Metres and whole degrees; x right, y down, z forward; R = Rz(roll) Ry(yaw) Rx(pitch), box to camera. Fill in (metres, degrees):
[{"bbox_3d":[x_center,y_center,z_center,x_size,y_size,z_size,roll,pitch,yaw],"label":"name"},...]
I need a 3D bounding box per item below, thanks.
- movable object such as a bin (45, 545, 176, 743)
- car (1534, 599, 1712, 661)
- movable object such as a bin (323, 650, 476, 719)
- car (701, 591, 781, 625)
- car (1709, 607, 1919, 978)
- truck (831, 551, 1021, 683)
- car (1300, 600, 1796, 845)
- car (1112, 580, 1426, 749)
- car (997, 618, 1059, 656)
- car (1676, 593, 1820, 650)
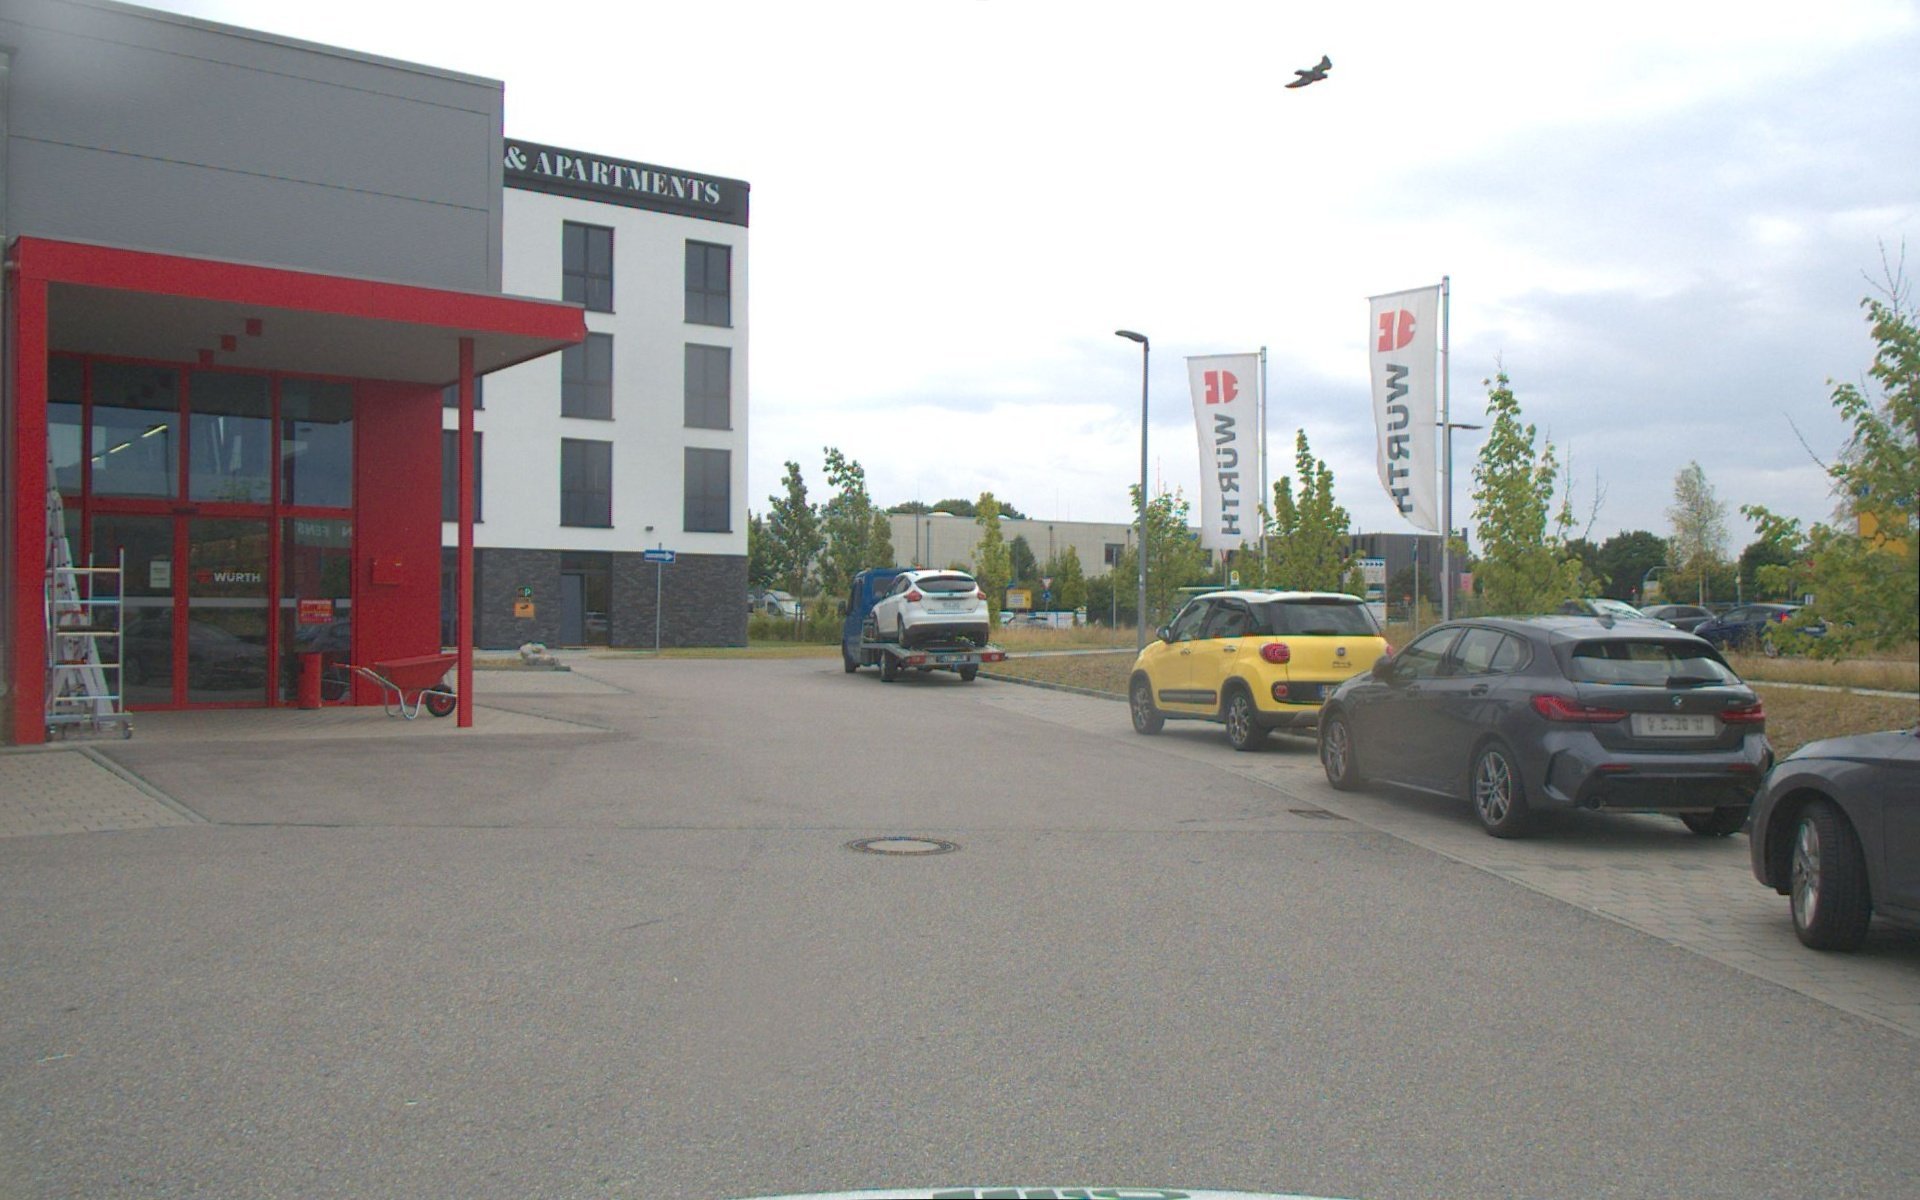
[{"bbox_3d":[-7.656,0.373,14.905,0.903,1.701,0.734,-3,2,-35],"label":"movable object such as a bin"},{"bbox_3d":[16.171,0.702,40.587,1.733,1.419,4.541,0,0,-14],"label":"car"},{"bbox_3d":[-6.324,0.945,18.654,1.472,0.716,0.955,2,-1,-30],"label":"movable object such as a bin"},{"bbox_3d":[-12.034,0.434,91.040,3.902,1.803,2.002,-1,0,8],"label":"car"},{"bbox_3d":[4.877,0.798,6.046,1.719,1.495,4.466,1,0,-9],"label":"car"},{"bbox_3d":[-0.917,0.326,34.895,2.292,2.448,7.866,0,0,-14],"label":"truck"},{"bbox_3d":[4.101,0.764,12.324,1.719,1.495,4.098,1,0,-9],"label":"car"},{"bbox_3d":[3.334,0.684,18.669,1.827,1.679,3.980,2,-1,-17],"label":"car"},{"bbox_3d":[3.566,1.949,87.544,1.963,1.892,3.978,-1,0,-19],"label":"car"},{"bbox_3d":[21.976,0.566,46.277,1.626,1.485,3.910,-1,0,-11],"label":"car"}]
